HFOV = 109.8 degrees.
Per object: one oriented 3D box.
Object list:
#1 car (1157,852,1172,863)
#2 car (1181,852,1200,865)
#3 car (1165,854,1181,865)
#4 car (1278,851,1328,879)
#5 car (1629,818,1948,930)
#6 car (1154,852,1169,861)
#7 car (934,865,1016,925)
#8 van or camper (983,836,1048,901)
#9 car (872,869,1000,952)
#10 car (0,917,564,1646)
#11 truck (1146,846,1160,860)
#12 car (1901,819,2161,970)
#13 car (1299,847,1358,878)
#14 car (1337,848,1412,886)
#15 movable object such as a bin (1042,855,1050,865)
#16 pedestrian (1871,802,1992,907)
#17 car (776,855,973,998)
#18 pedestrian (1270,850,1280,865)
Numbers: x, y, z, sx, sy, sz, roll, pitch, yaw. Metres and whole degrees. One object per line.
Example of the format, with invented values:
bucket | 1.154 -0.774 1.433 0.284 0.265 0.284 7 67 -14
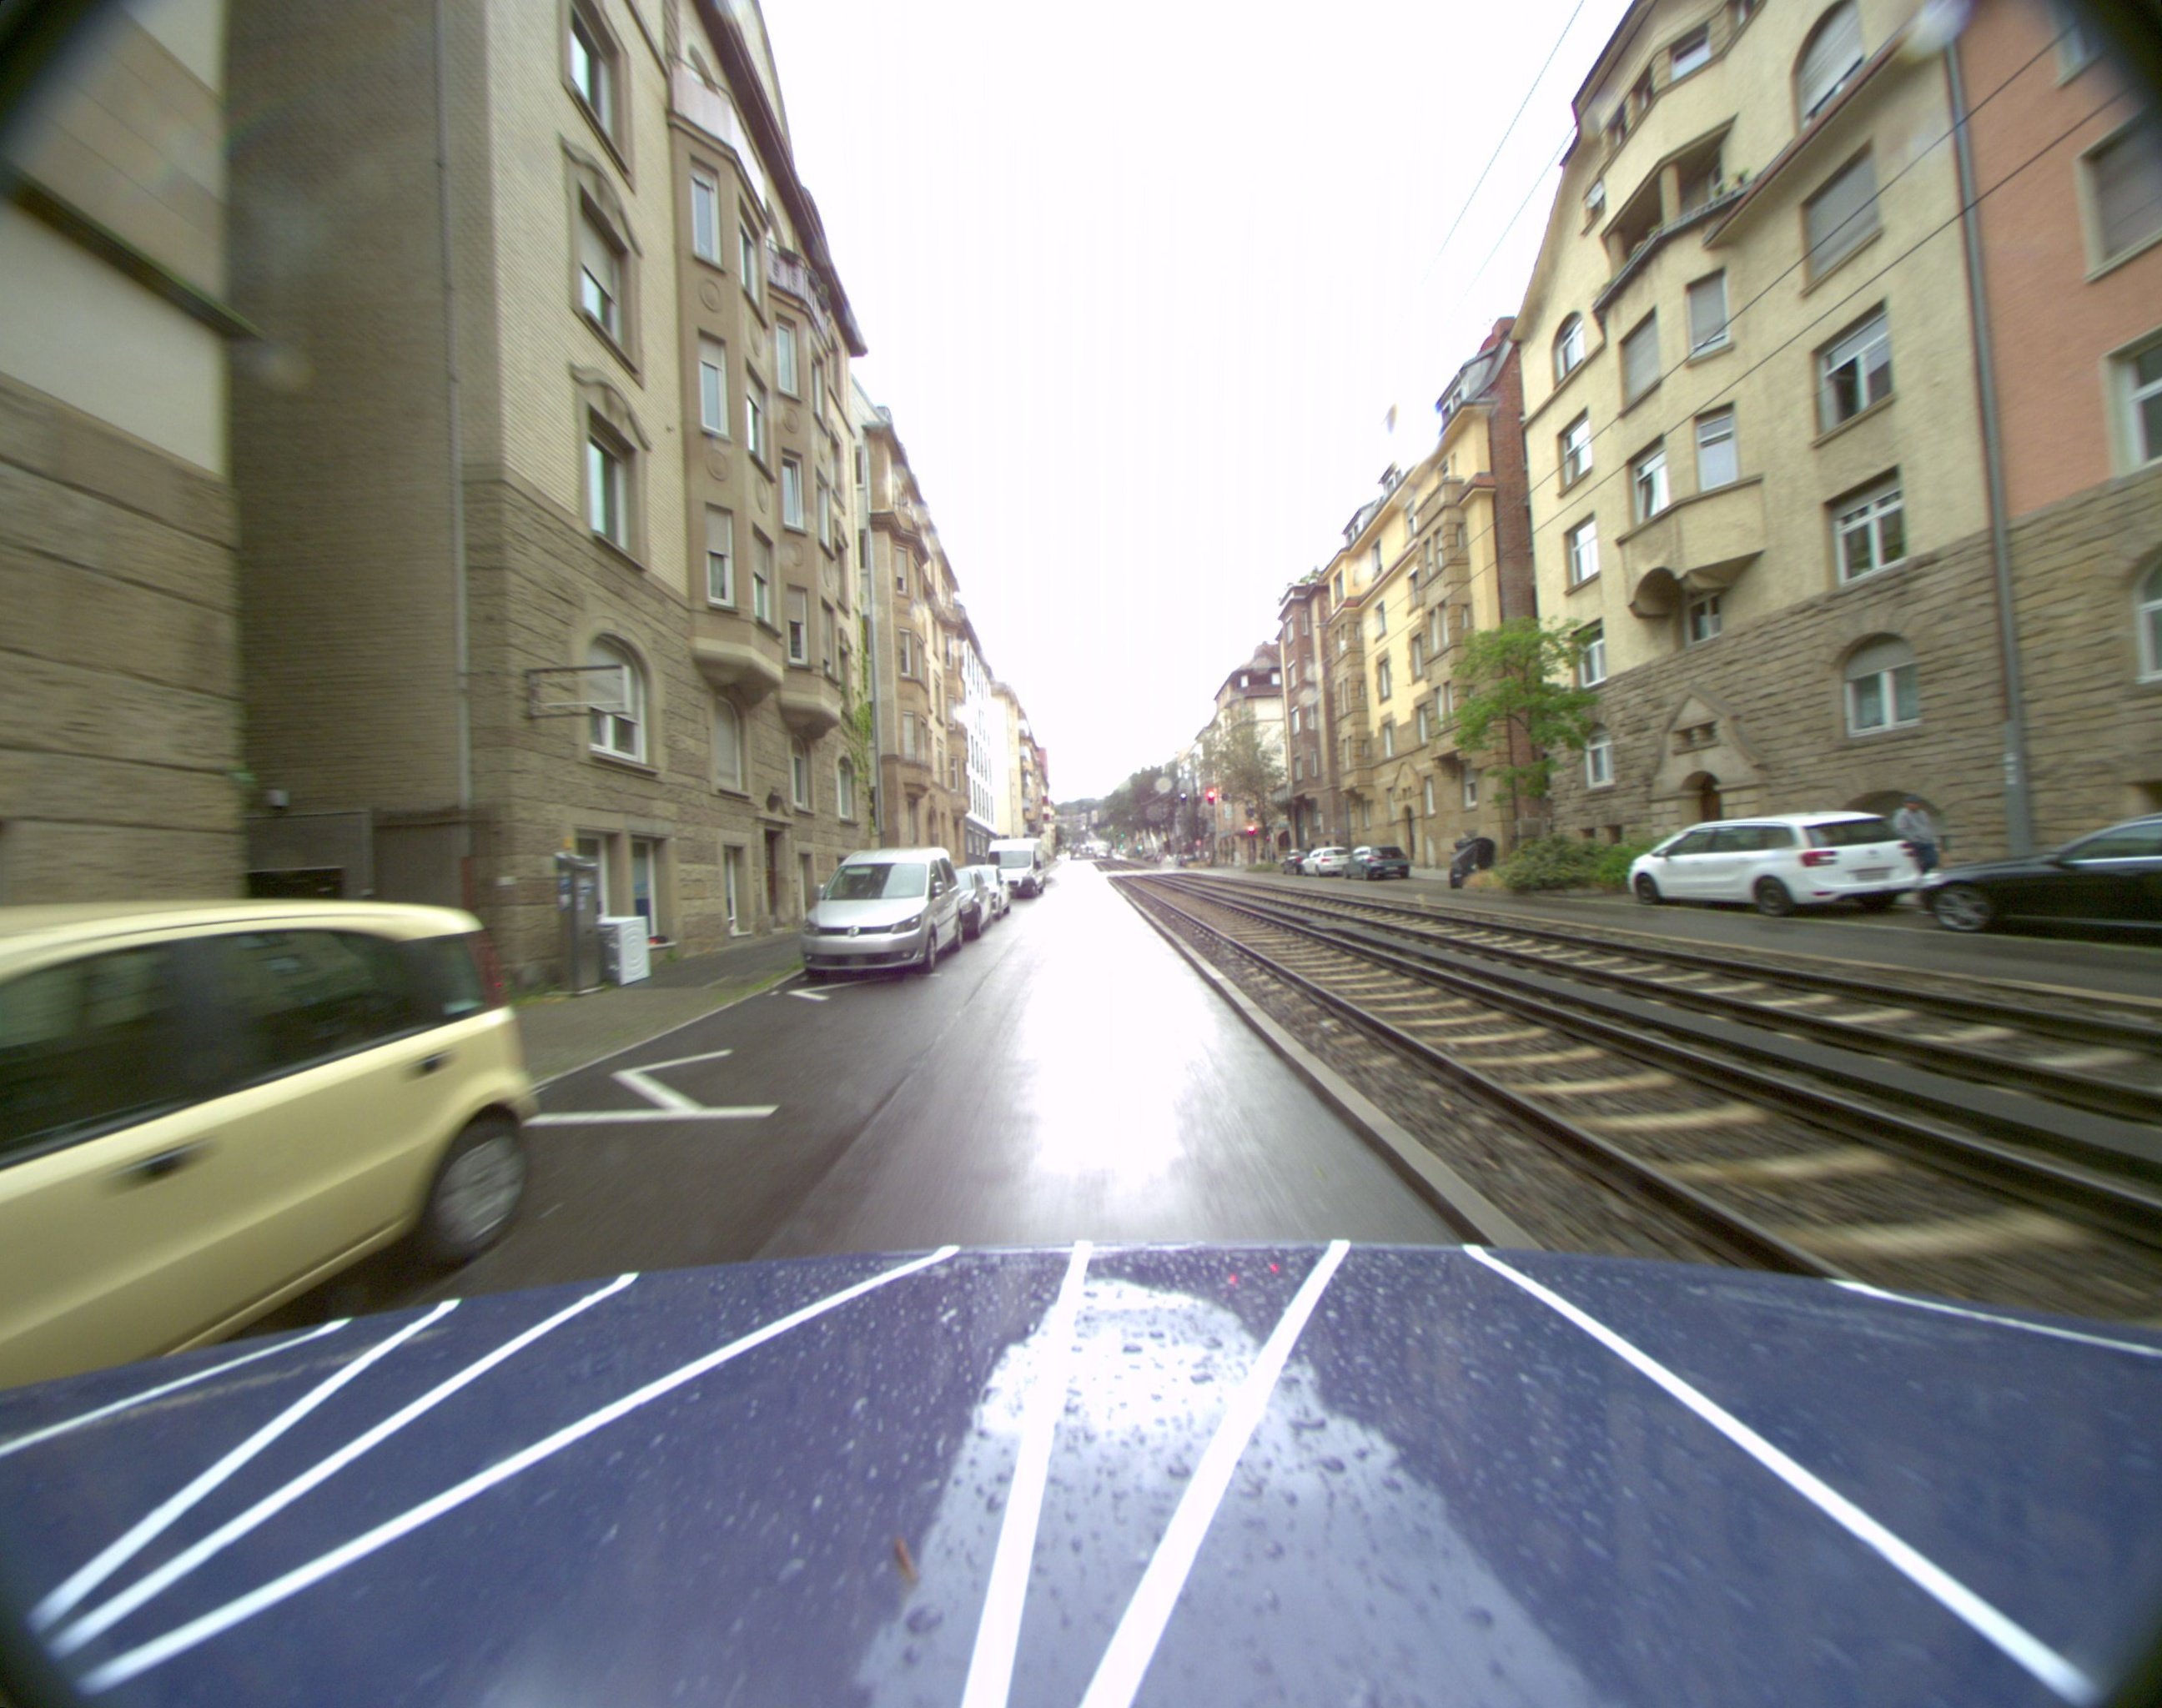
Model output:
car | 13.152 0.556 119.603 1.781 1.560 4.158 -2 1 0
car | 13.529 0.572 94.290 1.811 1.489 3.526 -3 0 1
car | 13.121 0.766 108.307 1.706 1.328 4.130 -5 1 1
car | 12.755 0.586 43.838 1.769 1.477 4.000 -2 1 1
car | 12.141 0.308 13.543 1.788 1.580 4.352 -3 0 4
car | 13.427 0.359 126.920 1.911 1.432 4.468 -2 1 -1
car | -2.864 1.063 21.274 1.680 1.403 4.000 -3 0 0
van or camper | -2.679 0.538 32.615 2.069 2.454 6.118 -2 0 1
car | -3.011 1.125 16.651 1.999 1.433 3.999 -2 0 0
car | -3.209 1.060 1.740 1.563 1.469 3.461 -3 0 1
truck | 13.348 -0.137 141.088 2.197 2.332 6.351 -2 2 2
car | 12.305 0.396 7.983 1.998 1.500 4.975 -4 0 1
car | 12.509 0.413 38.638 1.671 1.417 4.263 -3 0 2
car | 12.513 0.504 32.656 1.565 1.429 4.146 -4 0 1
movable object such as a bin | -5.120 0.855 111.477 1.011 1.443 1.393 0 1 1
pedestrian | 14.992 0.012 13.424 1.009 1.743 0.924 -3 0 0
car | -2.936 0.933 11.834 1.779 1.766 4.361 -2 0 1
pedestrian | 18.881 0.328 73.925 0.818 1.407 0.721 -3 1 4
